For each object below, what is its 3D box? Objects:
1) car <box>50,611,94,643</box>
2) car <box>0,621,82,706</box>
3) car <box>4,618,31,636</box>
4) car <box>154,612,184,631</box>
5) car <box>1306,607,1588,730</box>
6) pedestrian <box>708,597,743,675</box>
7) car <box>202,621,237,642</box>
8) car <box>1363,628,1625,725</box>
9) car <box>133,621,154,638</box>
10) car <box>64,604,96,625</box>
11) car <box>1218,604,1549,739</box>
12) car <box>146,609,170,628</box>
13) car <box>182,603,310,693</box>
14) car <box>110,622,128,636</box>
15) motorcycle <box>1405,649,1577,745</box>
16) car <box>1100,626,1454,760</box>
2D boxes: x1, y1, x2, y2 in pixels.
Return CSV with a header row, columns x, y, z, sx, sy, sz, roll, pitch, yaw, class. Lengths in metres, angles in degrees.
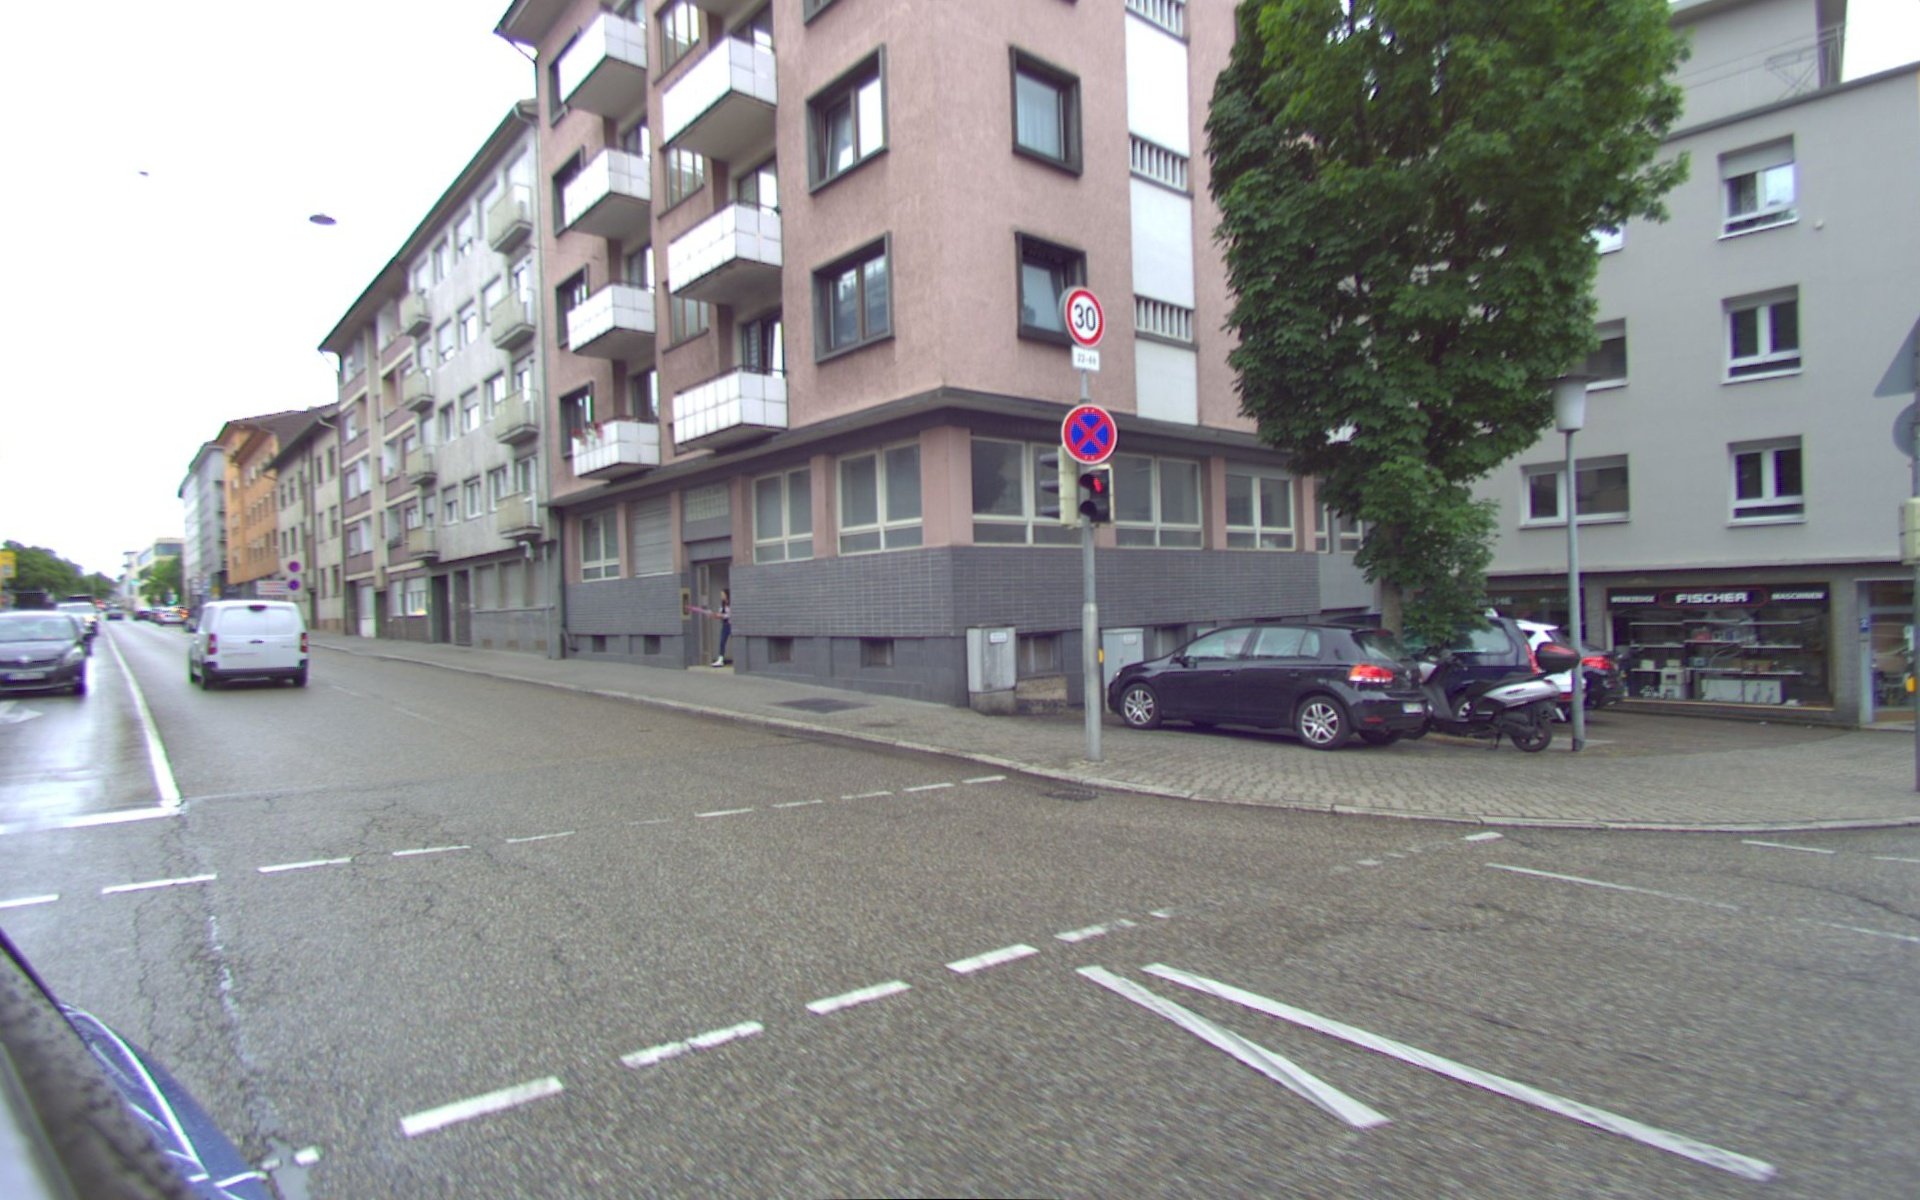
x,y,z,sx,sy,sz,roll,pitch,yaw,class
-50.878,1.538,58.047,1.696,1.674,3.686,-3,1,-39,car
-18.457,1.226,19.923,1.706,1.492,4.077,-1,-1,-42,car
-95.309,2.712,102.359,1.696,1.674,3.685,-3,1,-39,car
-65.409,1.776,83.646,1.706,1.472,4.077,2,-2,-42,car
8.012,1.116,16.775,3.989,1.807,1.839,-2,-5,34,car
-4.922,0.748,21.277,0.527,1.569,0.447,2,5,24,pedestrian
-57.520,2.392,78.581,1.683,1.466,3.808,-3,2,-44,car
9.577,1.318,18.242,3.992,1.508,1.838,0,-4,36,car
-88.221,3.210,109.284,1.696,1.674,3.685,-3,1,-39,car
-74.475,1.231,85.668,1.824,1.674,3.686,-3,1,-39,car
6.227,0.996,15.114,4.325,1.741,1.757,0,-4,27,car
-74.168,1.682,93.580,1.696,1.674,3.685,-3,1,-39,car
-15.431,1.008,21.770,1.783,1.728,4.553,3,-3,-41,car
-105.897,3.651,127.438,1.696,1.674,3.685,-3,1,-39,car
6.388,1.138,12.246,1.794,1.040,0.447,-1,-1,41,motorcycle
3.891,1.066,12.906,1.711,1.370,4.004,3,-2,-42,car
